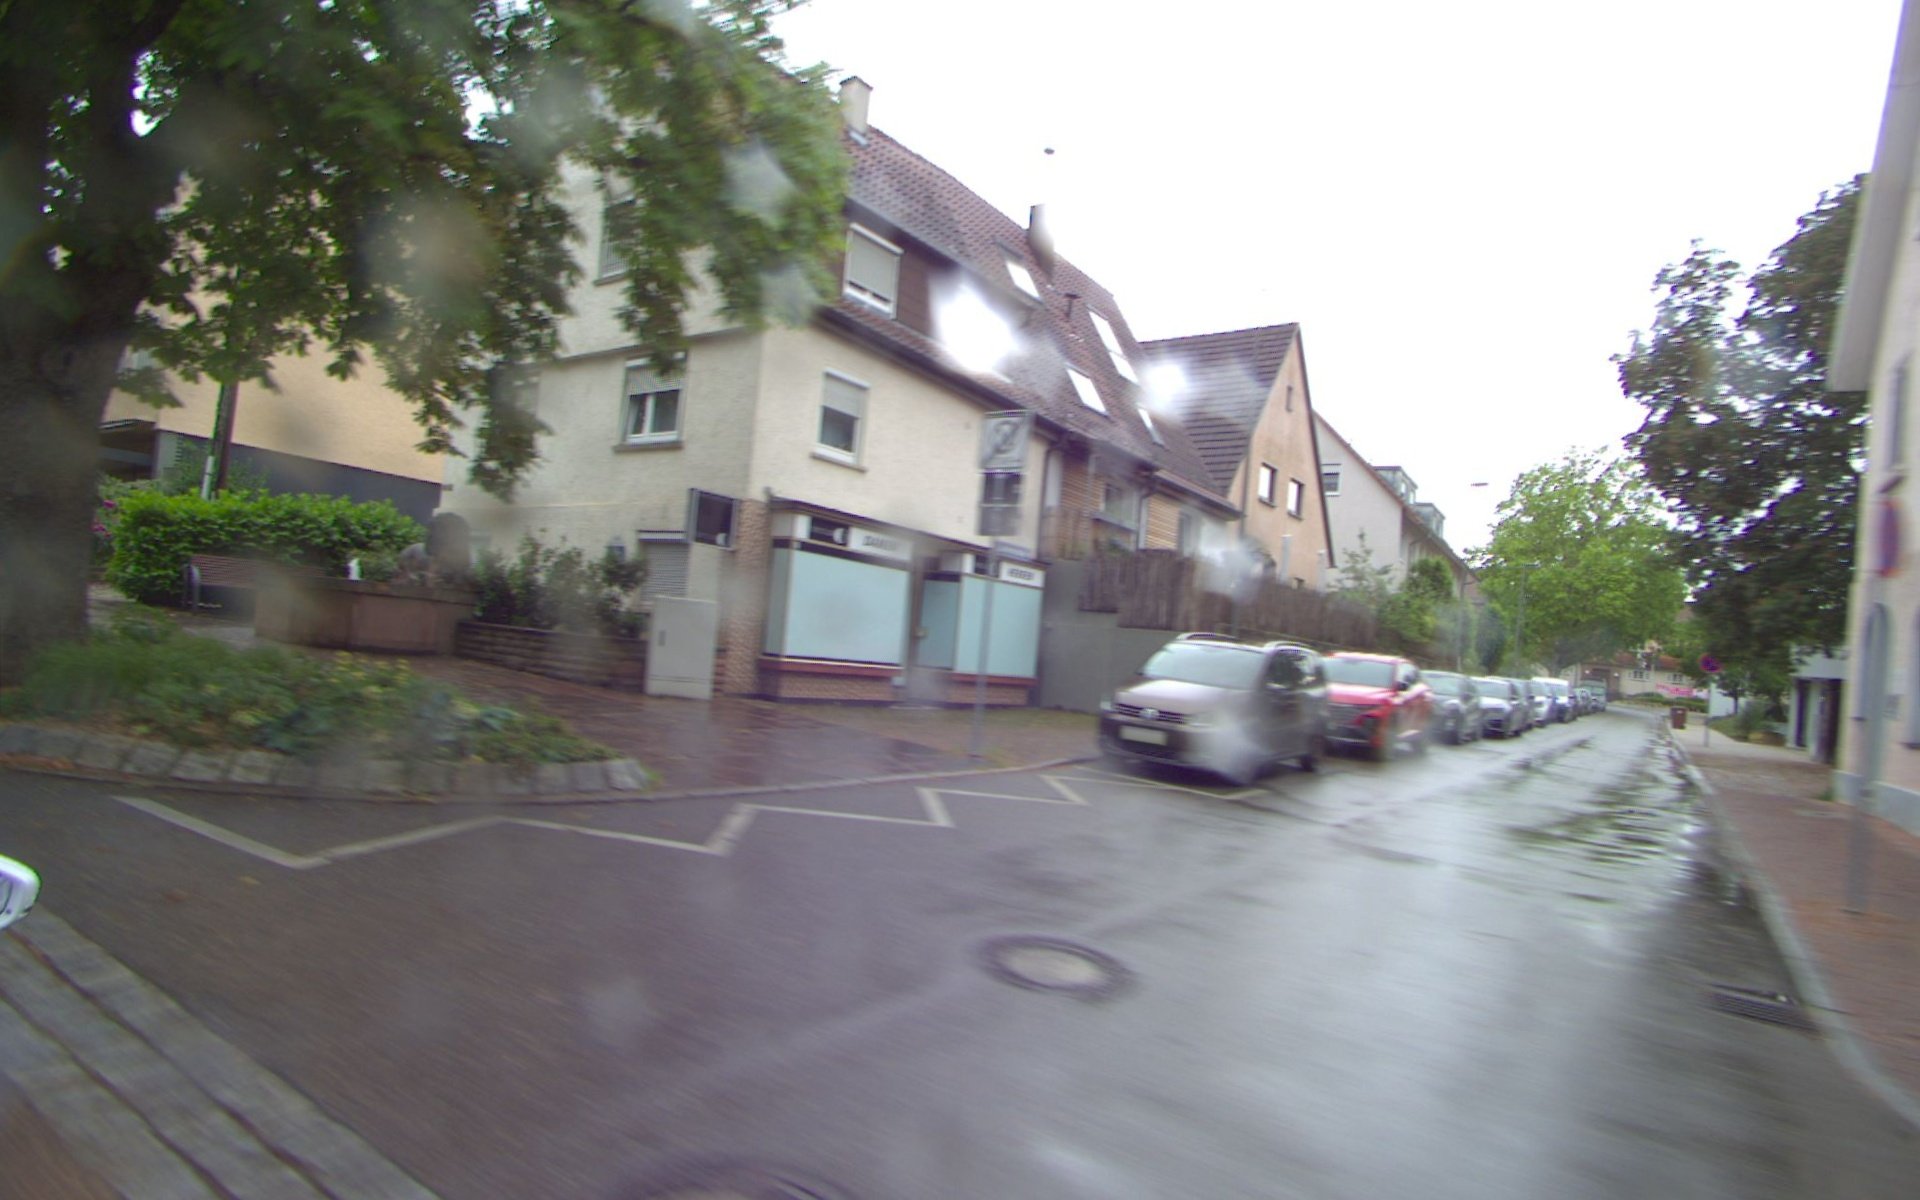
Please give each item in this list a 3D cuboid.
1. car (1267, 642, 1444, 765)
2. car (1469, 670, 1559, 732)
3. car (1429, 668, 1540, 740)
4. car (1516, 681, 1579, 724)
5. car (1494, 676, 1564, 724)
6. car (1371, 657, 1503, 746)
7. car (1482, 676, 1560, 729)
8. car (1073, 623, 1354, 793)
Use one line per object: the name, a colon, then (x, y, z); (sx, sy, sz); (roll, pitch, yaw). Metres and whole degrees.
car: (6.801, 1.724, 17.045); (1.678, 1.640, 4.182); (6, -1, 36)
car: (16.990, 3.091, 30.735); (1.811, 1.513, 4.183); (6, -1, 36)
car: (13.546, 2.648, 25.863); (1.812, 1.513, 4.180); (5, -1, 37)
car: (25.054, 4.365, 42.809); (1.811, 1.513, 4.183); (6, -1, 36)
car: (22.126, 3.891, 39.033); (1.811, 1.513, 4.183); (6, -1, 36)
car: (10.698, 2.232, 22.409); (1.753, 1.603, 3.955); (6, -1, 37)
car: (19.577, 3.578, 35.030); (1.811, 1.513, 4.183); (6, -1, 36)
car: (3.345, 1.302, 12.663); (1.812, 1.603, 4.180); (6, -1, 37)
